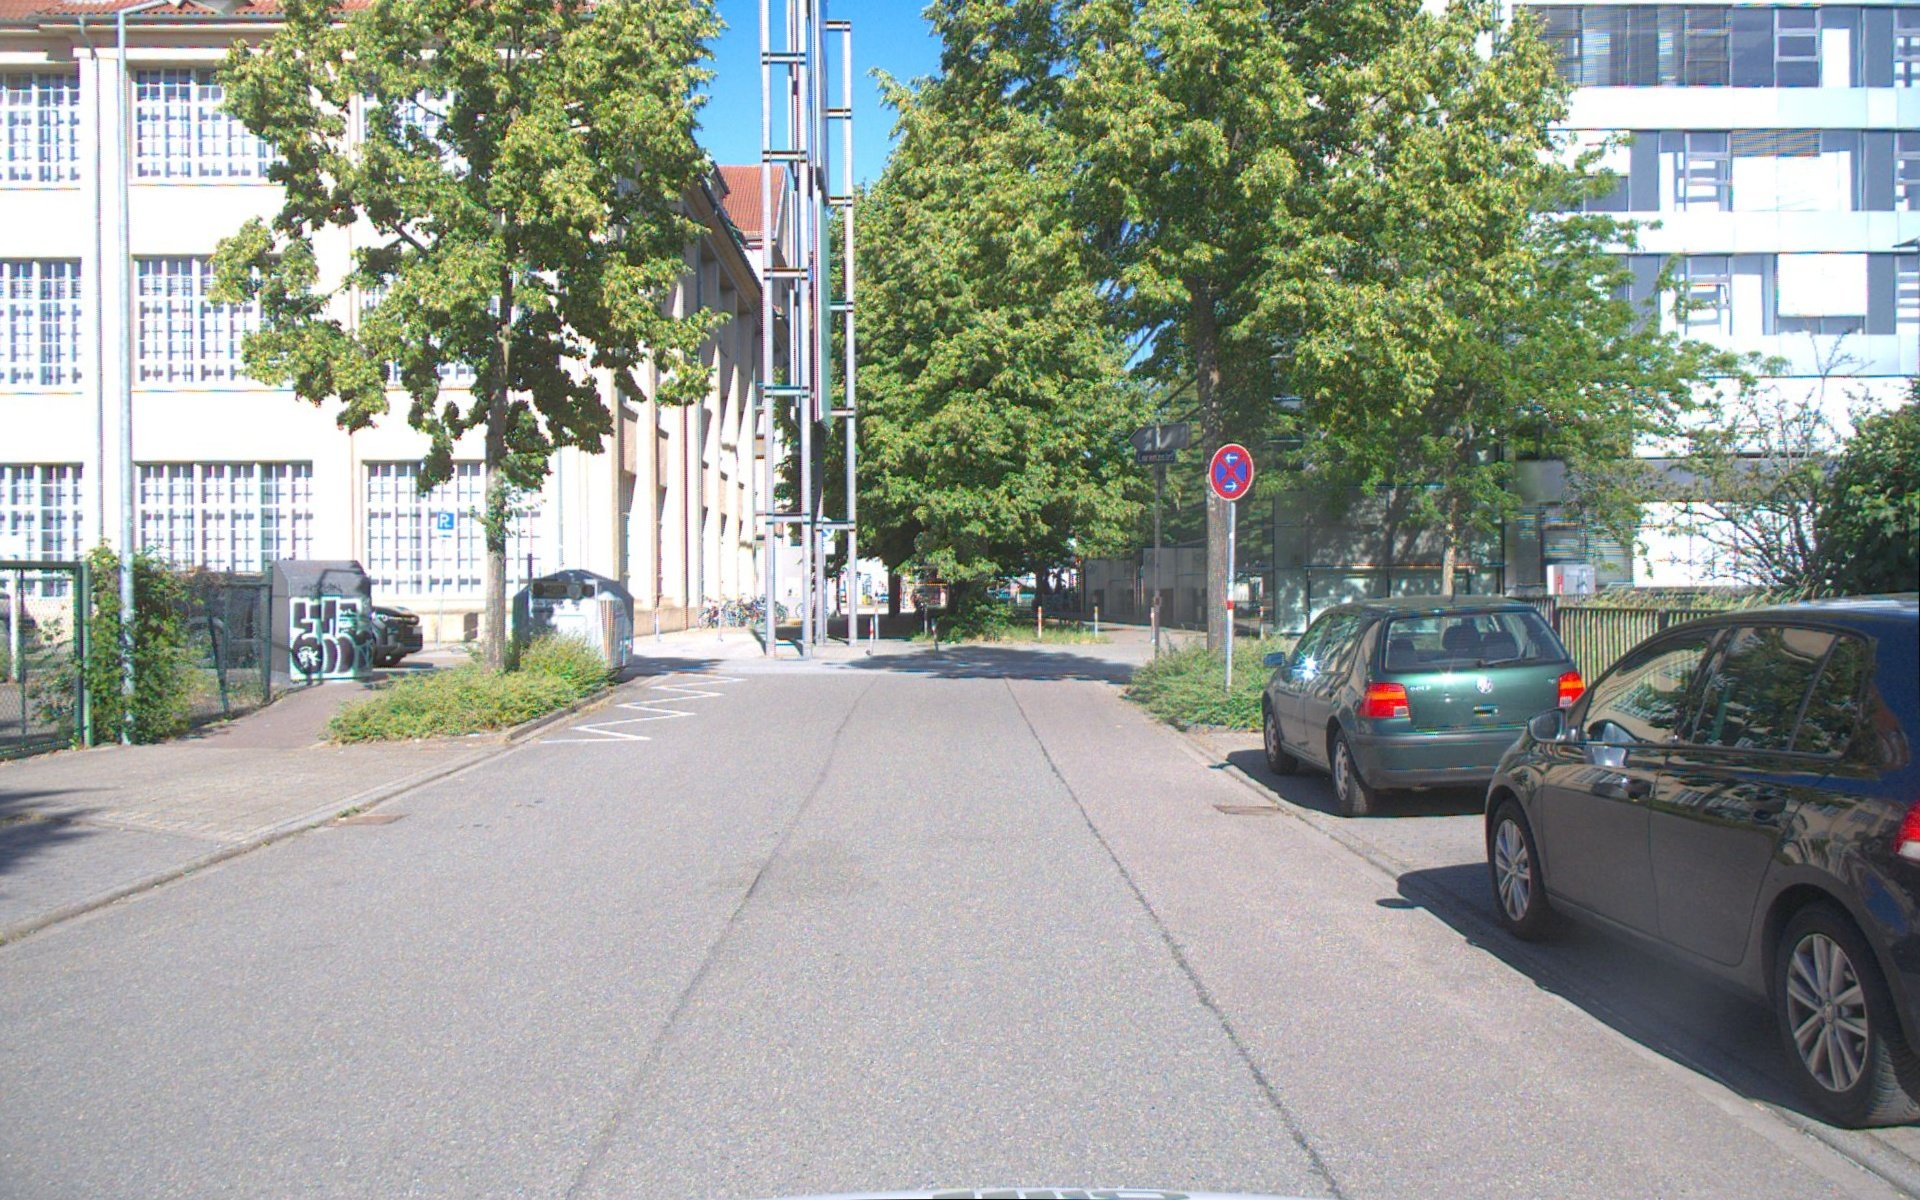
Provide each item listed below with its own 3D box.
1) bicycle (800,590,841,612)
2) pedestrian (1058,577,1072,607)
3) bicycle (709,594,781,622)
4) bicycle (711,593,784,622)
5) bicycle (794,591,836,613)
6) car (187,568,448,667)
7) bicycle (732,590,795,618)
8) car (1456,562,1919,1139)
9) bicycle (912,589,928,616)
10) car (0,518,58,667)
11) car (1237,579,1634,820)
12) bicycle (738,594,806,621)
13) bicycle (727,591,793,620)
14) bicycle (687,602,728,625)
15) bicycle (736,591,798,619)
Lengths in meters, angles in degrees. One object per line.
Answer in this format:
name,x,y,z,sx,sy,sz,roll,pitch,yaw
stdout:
bicycle,-7.079,0.059,83.717,2.015,1.085,0.507,0,0,1
pedestrian,5.499,-0.434,86.963,0.701,1.577,0.690,0,0,5
bicycle,-8.427,0.318,64.938,2.743,1.081,0.718,0,0,-1
bicycle,-8.131,0.284,63.326,2.746,1.081,0.718,0,0,-6
bicycle,-7.269,0.094,83.048,2.015,1.085,0.507,0,0,1
car,-11.774,0.318,30.500,4.005,1.725,2.000,-1,0,0
bicycle,-8.513,0.180,71.634,2.678,1.171,0.718,0,0,-6
car,3.359,0.634,6.027,1.748,1.542,3.998,-1,1,-2
bicycle,-1.874,0.110,77.387,0.607,1.218,2.129,-1,1,-6
car,-20.102,-0.094,30.091,6.136,2.642,2.164,-1,-1,-2
car,3.402,0.640,12.748,1.711,1.446,4.423,-3,0,0
bicycle,-7.699,0.321,67.889,2.746,1.081,0.718,0,0,-6
bicycle,-8.474,0.238,70.276,2.746,1.171,0.718,-1,0,-6
bicycle,-9.213,0.479,60.468,0.761,0.806,2.886,0,1,7
bicycle,-8.441,0.209,72.425,2.678,1.171,0.718,0,0,-6
